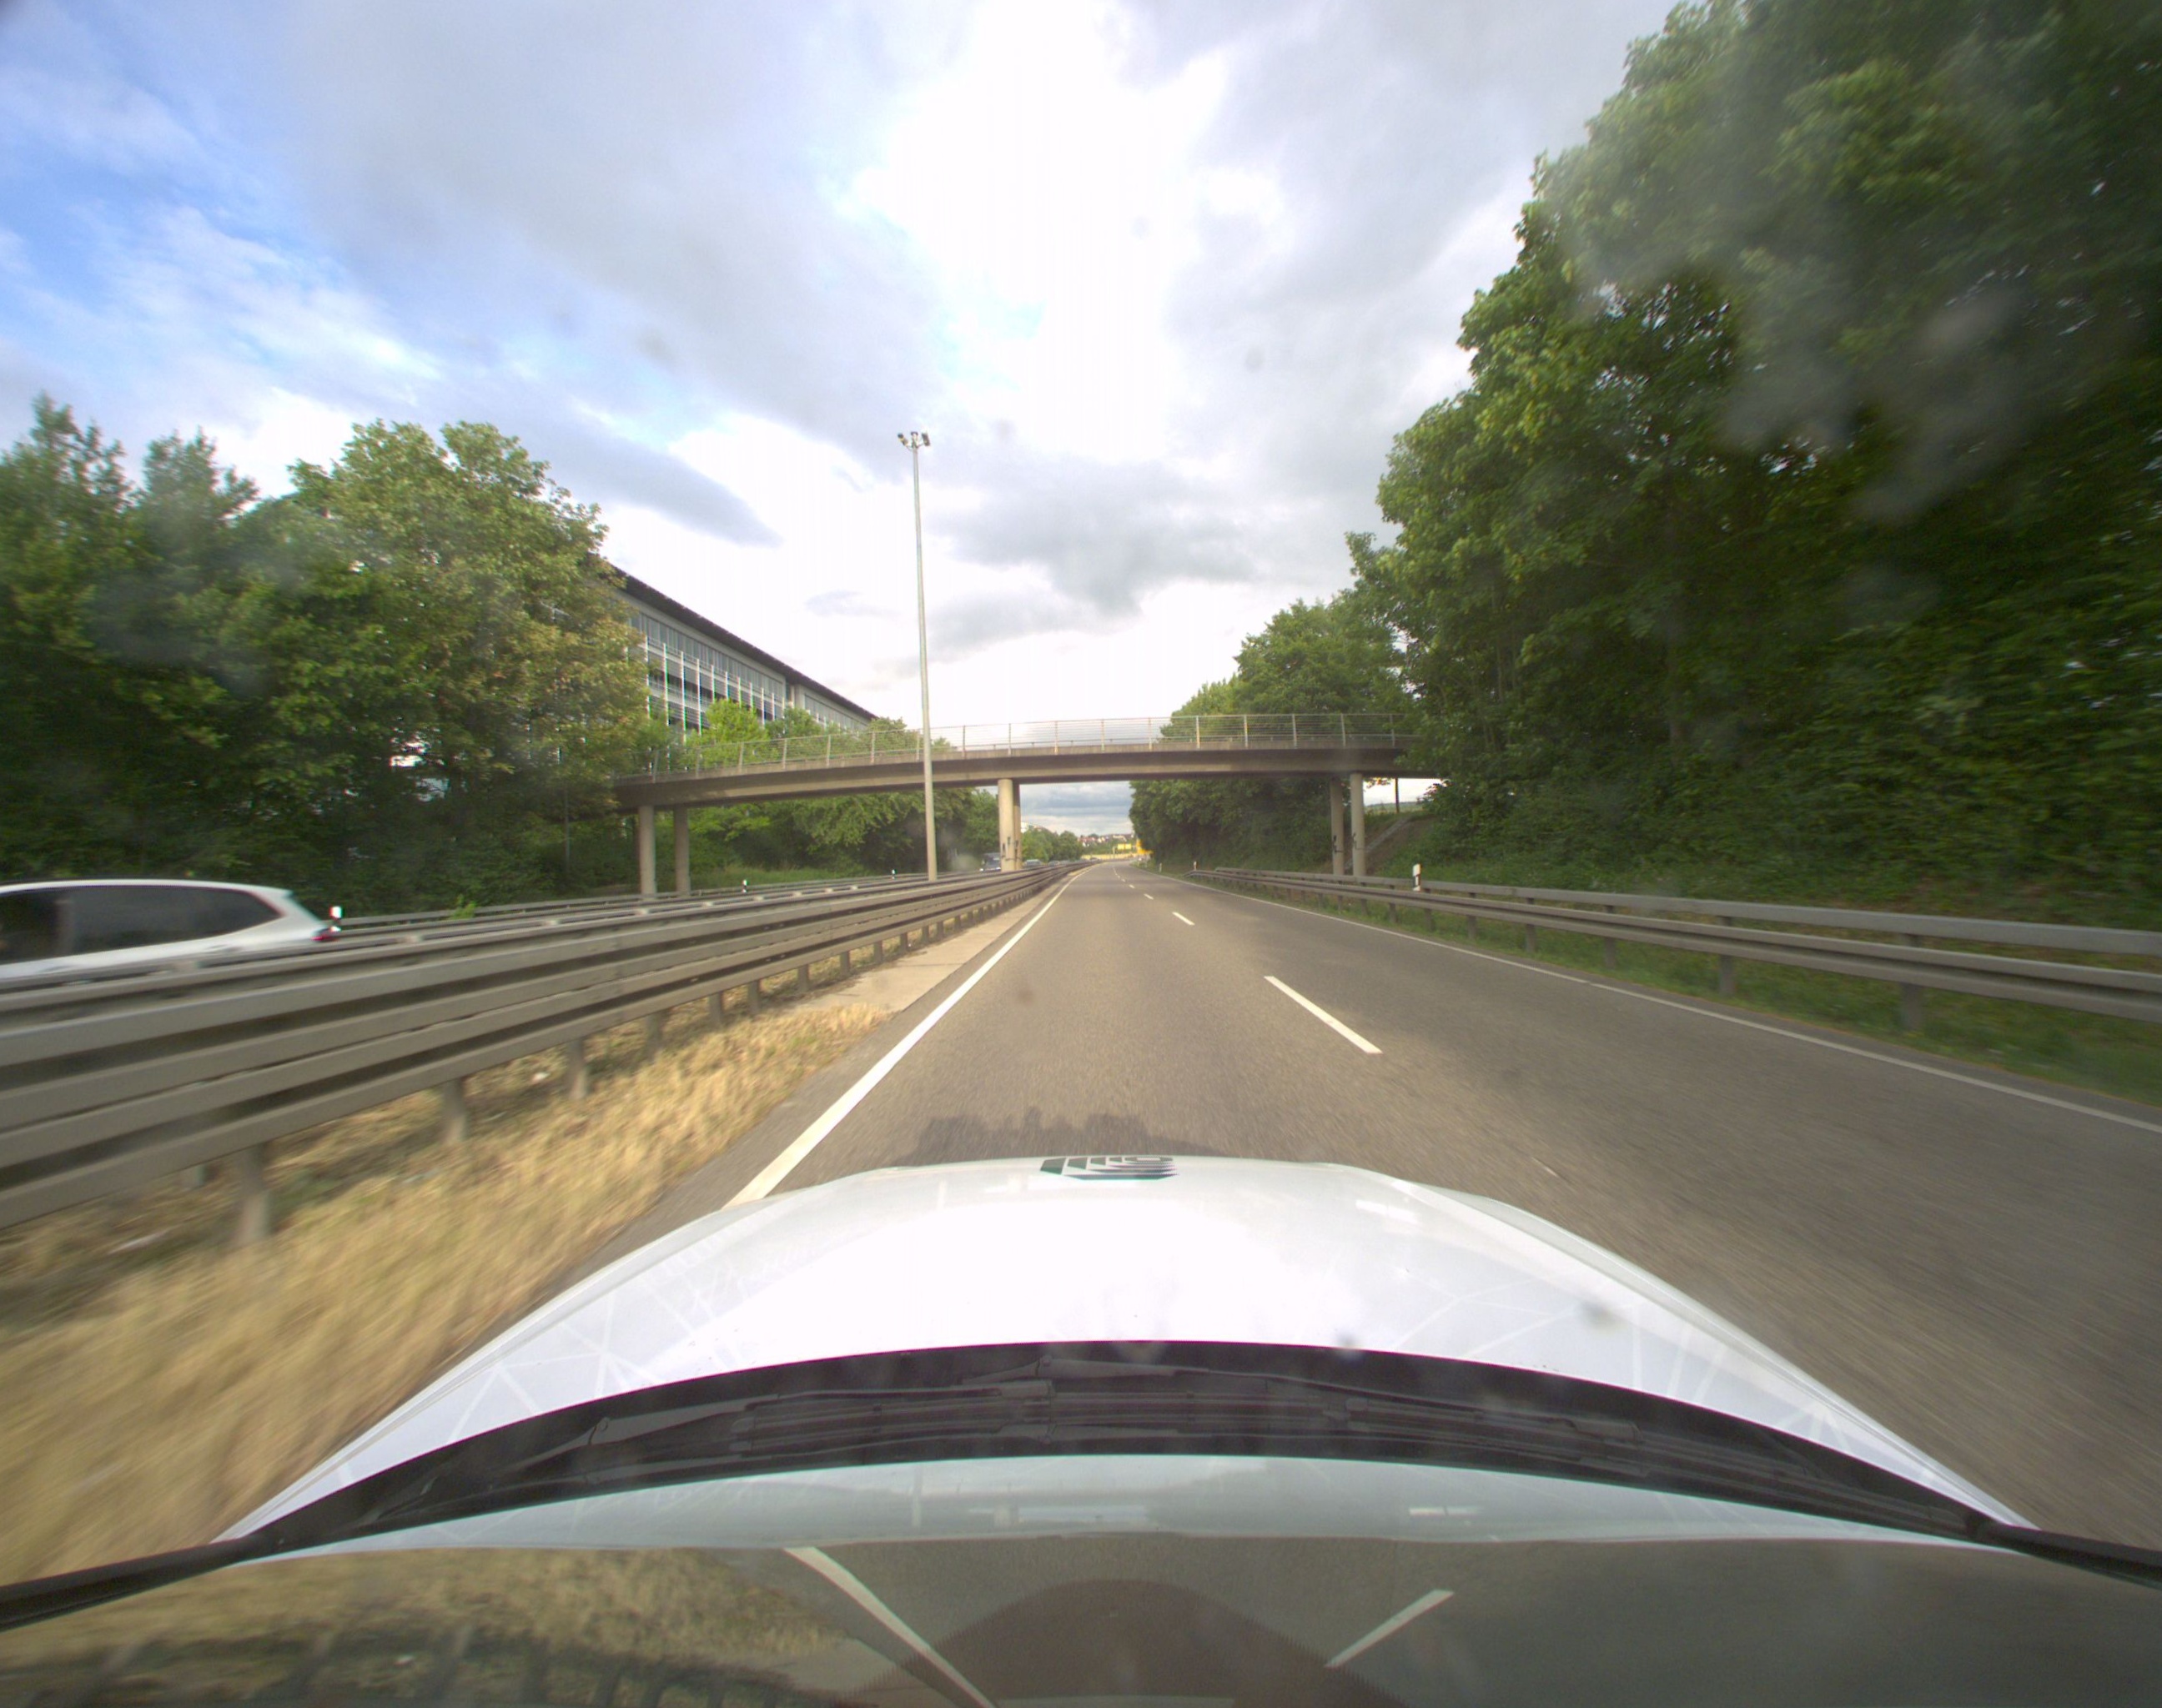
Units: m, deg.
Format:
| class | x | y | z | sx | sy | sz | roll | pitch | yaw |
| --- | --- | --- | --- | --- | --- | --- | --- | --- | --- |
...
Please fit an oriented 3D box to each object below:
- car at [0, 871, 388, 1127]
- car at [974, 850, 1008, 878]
| class | x | y | z | sx | sy | sz | roll | pitch | yaw |
| --- | --- | --- | --- | --- | --- | --- | --- | --- | --- |
| car | -7.816 | 0.969 | 5.626 | 1.816 | 1.584 | 4.792 | -1 | 0 | 2 |
| car | -8.697 | 0.929 | 79.184 | 2.241 | 2.537 | 6.943 | -1 | 0 | 2 |
